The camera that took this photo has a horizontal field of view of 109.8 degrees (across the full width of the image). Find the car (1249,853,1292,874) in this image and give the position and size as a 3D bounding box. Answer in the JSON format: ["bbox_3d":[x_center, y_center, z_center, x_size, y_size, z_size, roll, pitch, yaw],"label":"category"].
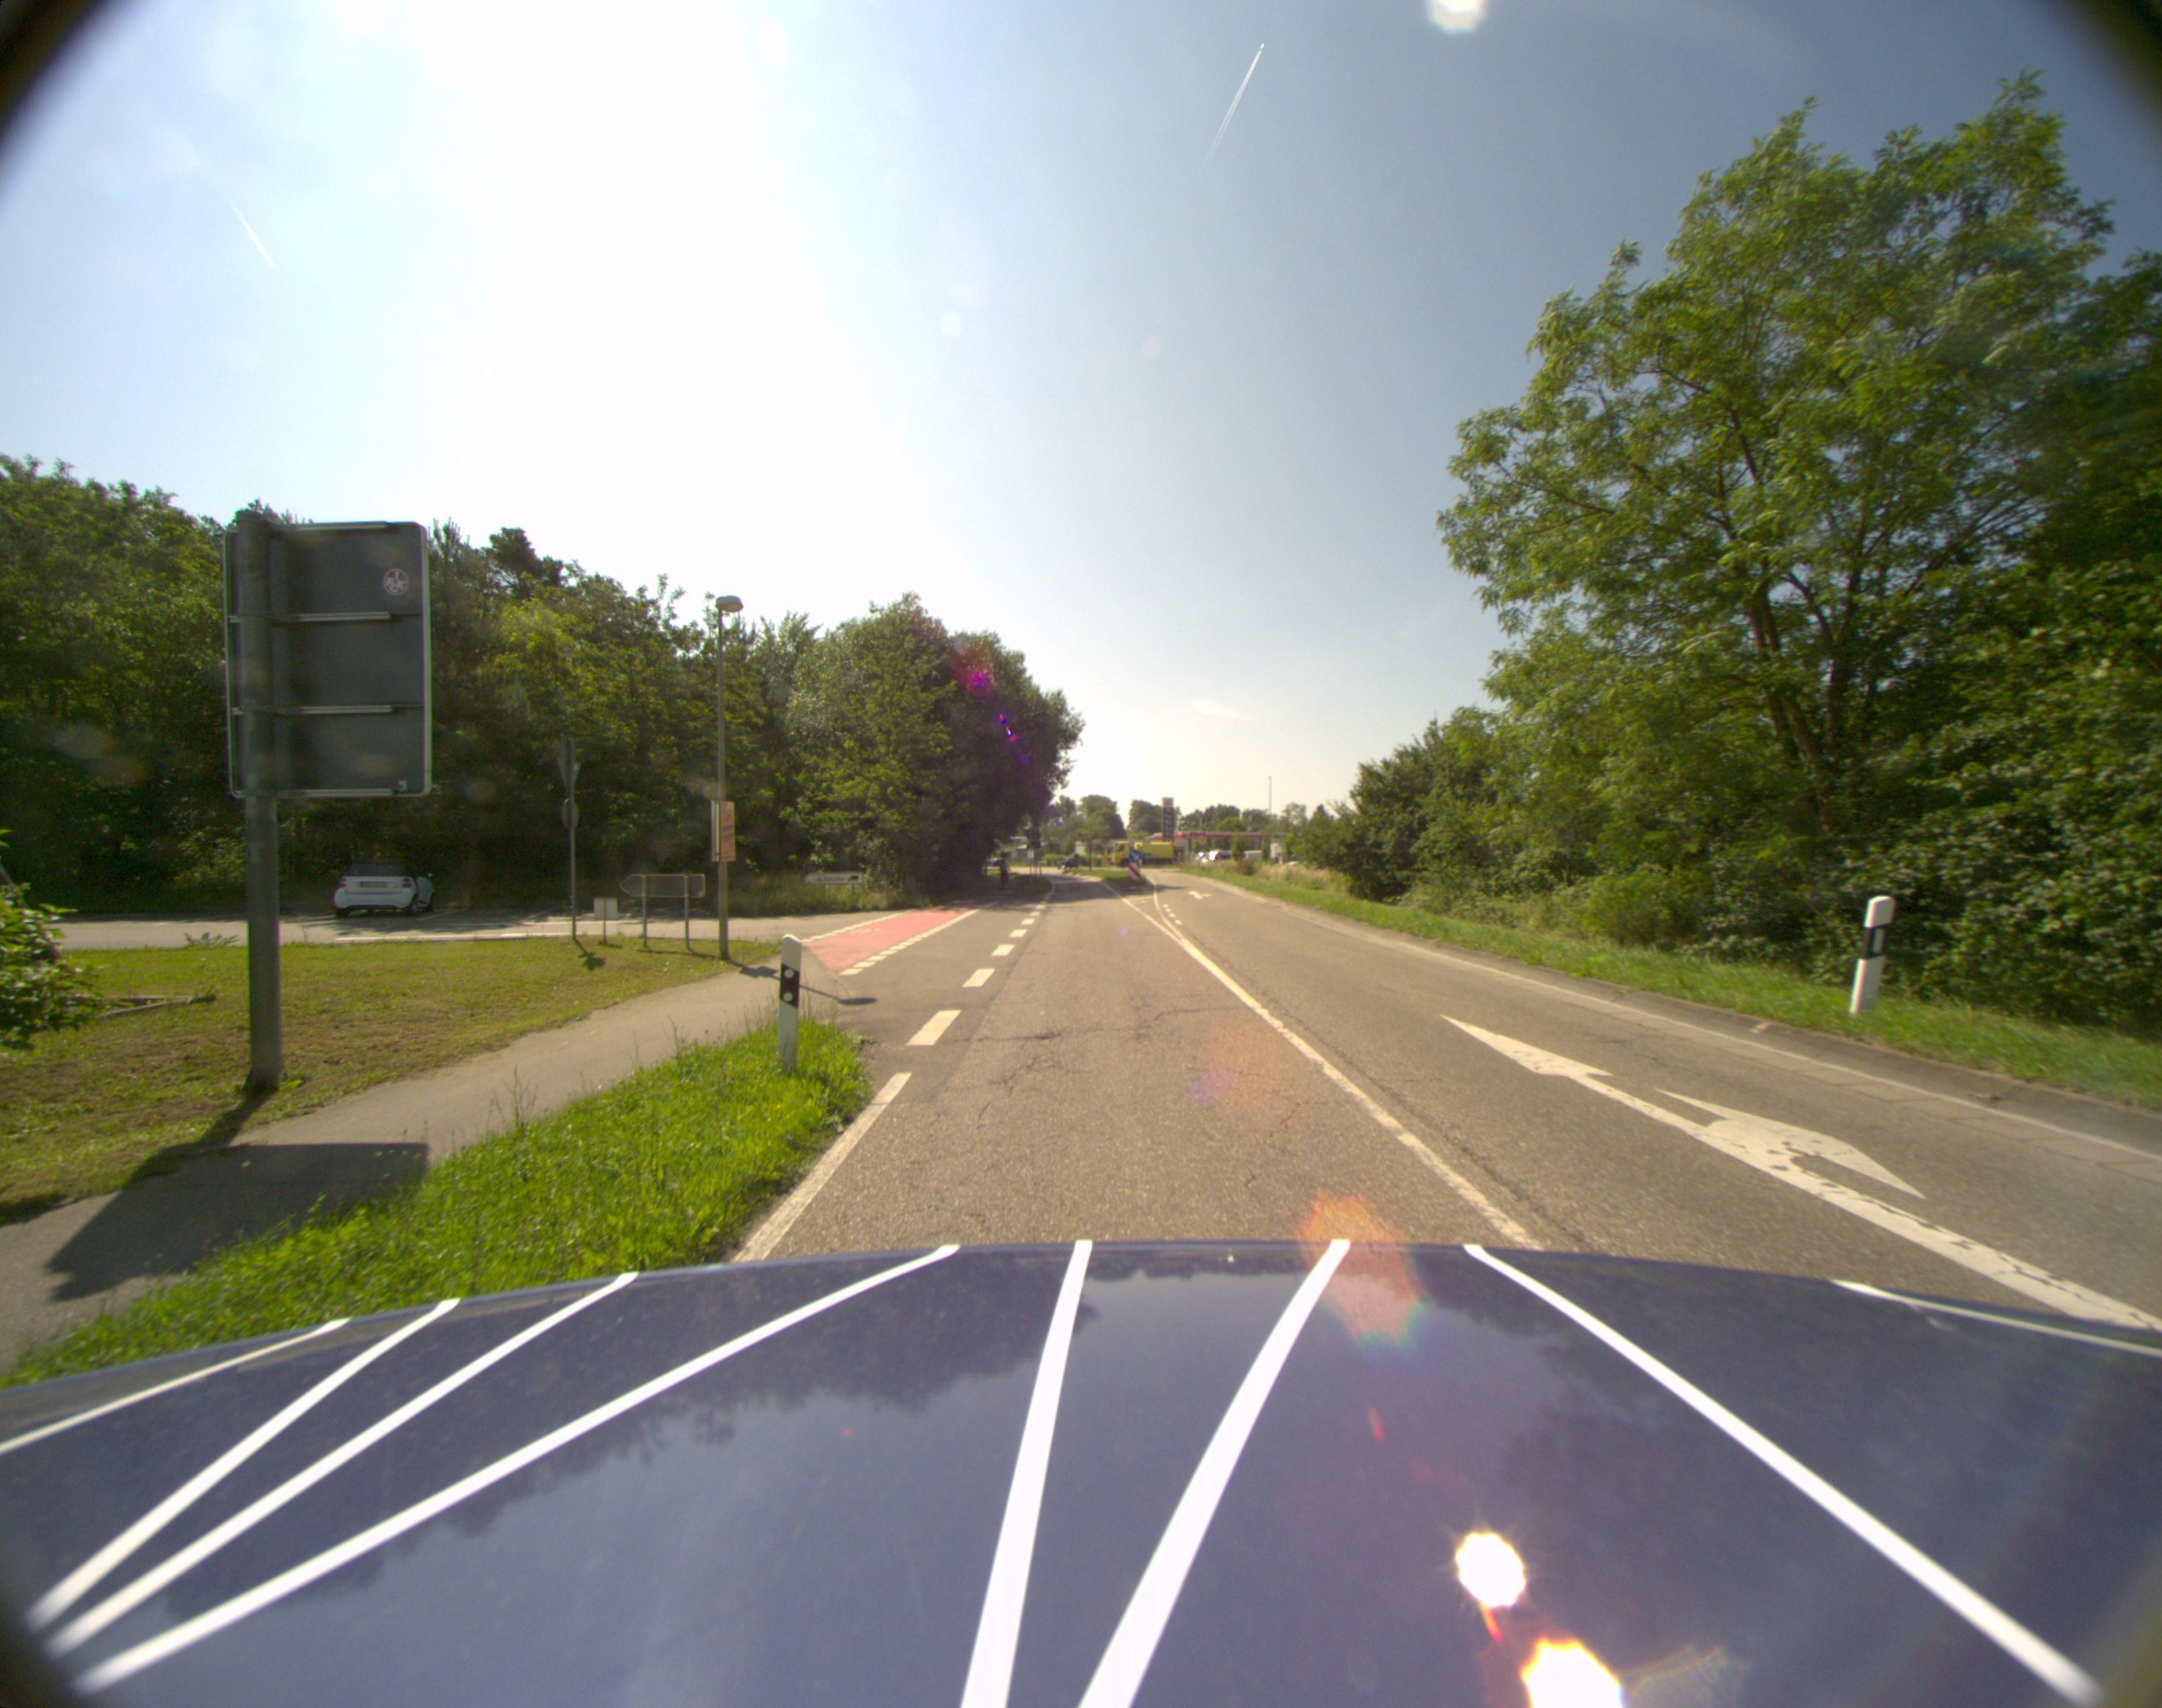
[{"bbox_3d":[19.777,1.010,79.463,3.998,2.155,2.000,0,0,-2],"label":"car"}]

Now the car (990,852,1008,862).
[{"bbox_3d":[-13.522,0.476,125.614,1.832,1.630,3.829,0,0,-26],"label":"car"}]

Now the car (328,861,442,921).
[{"bbox_3d":[-19.211,0.965,21.101,1.600,1.510,2.835,0,0,-27],"label":"car"}]

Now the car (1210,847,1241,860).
[{"bbox_3d":[20.786,-0.064,109.318,4.004,1.936,1.996,0,0,-20],"label":"car"}]

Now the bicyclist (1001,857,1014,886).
[{"bbox_3d":[-4.506,1.062,46.693,0.638,1.720,0.978,-2,0,2],"label":"bicyclist"}]

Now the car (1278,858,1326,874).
[{"bbox_3d":[21.323,1.163,73.387,3.998,1.477,2.000,0,0,-2],"label":"car"}]

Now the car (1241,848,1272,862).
[{"bbox_3d":[25.735,0.172,111.741,4.004,1.936,1.996,0,0,-20],"label":"car"}]

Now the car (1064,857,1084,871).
[{"bbox_3d":[-0.914,1.209,92.485,1.829,1.630,3.833,0,0,-10],"label":"car"}]

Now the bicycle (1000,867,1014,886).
[{"bbox_3d":[-4.507,1.376,46.517,0.591,1.117,1.520,-2,0,2],"label":"bicycle"}]

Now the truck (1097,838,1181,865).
[{"bbox_3d":[7.322,-0.331,97.045,10.333,3.374,3.884,0,0,-1],"label":"truck"}]
